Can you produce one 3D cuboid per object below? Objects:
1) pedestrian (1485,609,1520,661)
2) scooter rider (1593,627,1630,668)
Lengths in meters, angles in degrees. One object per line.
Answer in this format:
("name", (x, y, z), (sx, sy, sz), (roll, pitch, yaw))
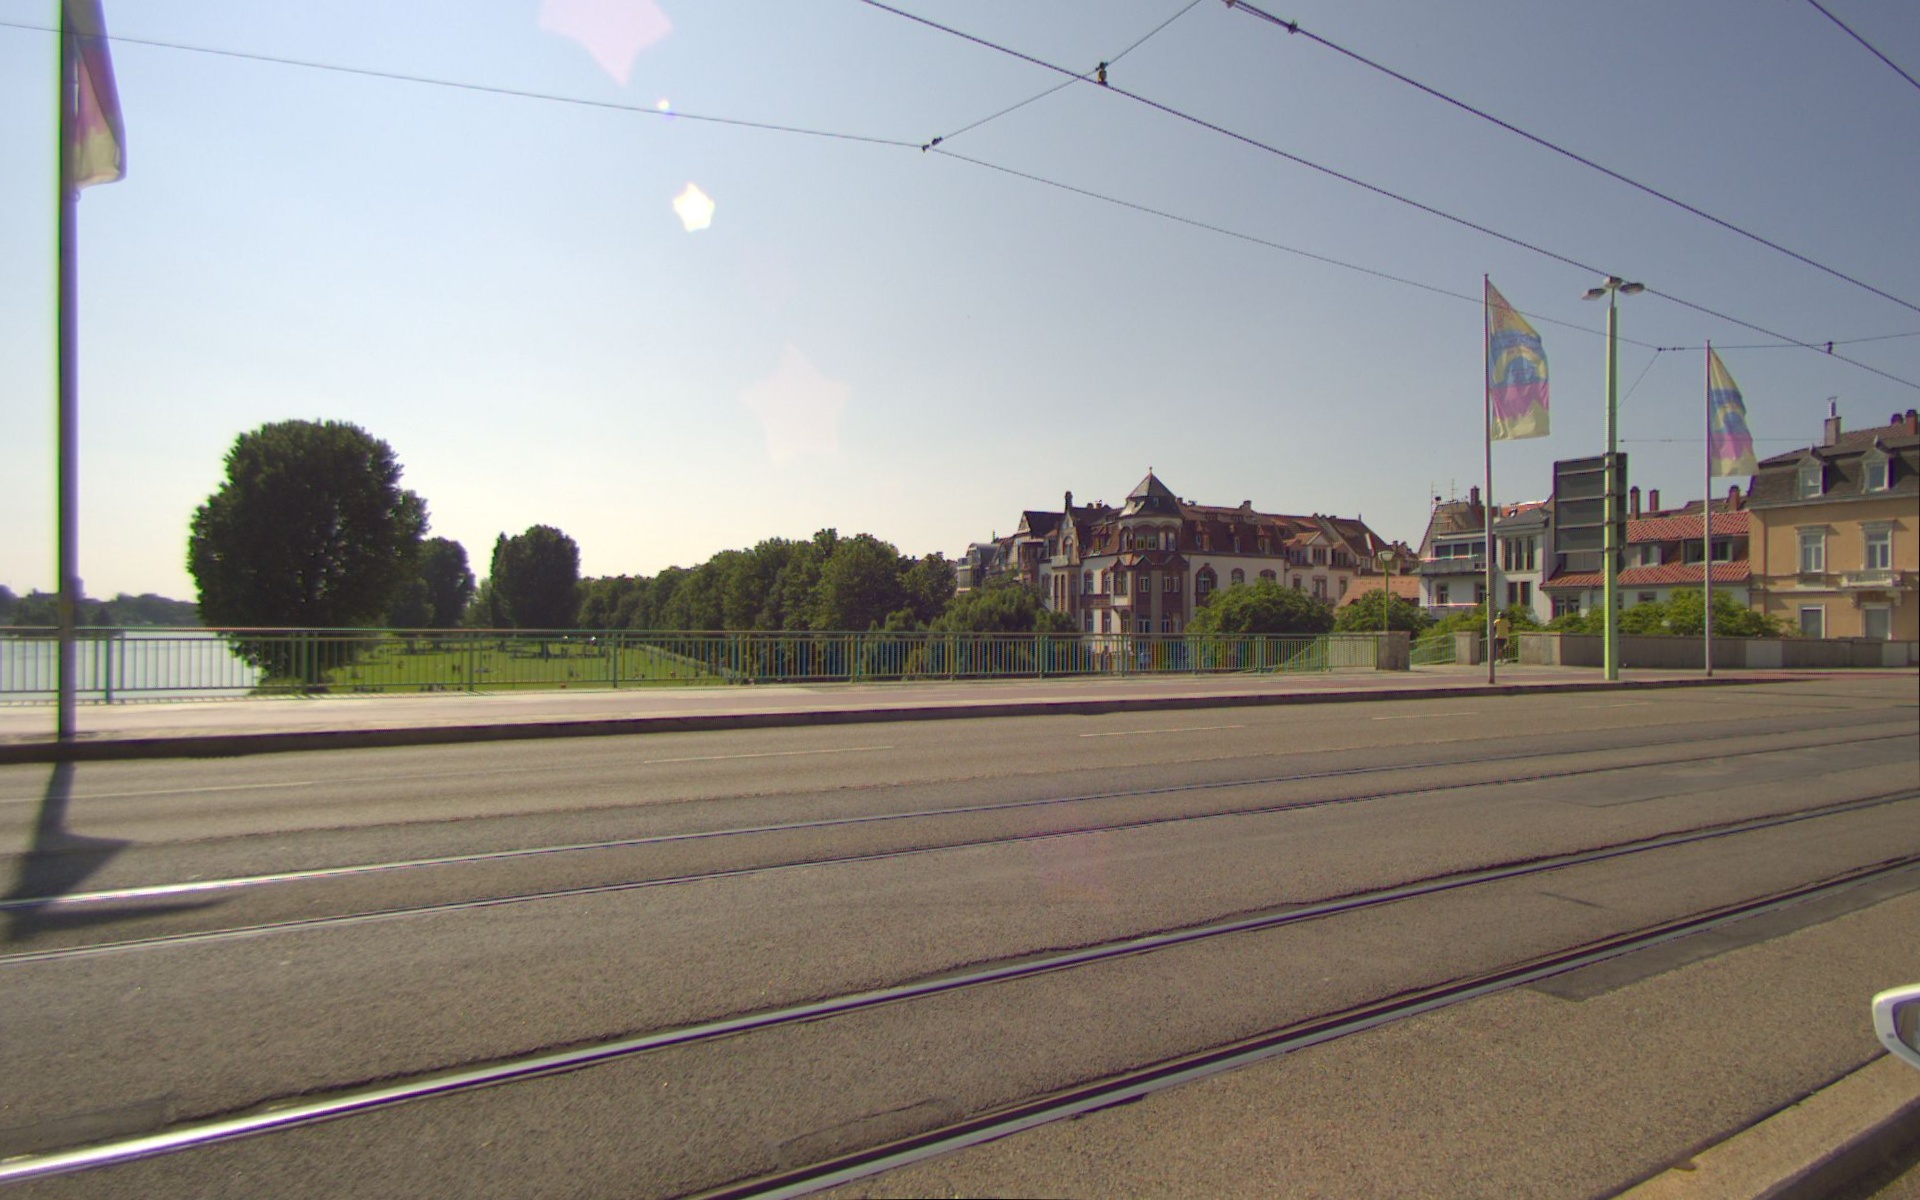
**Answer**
("pedestrian", (18.951, 1.227, 35.095), (0.790, 1.804, 0.744), (1, -2, -22))
("scooter rider", (22.075, 1.605, 34.054), (0.589, 1.333, 0.767), (2, 3, -18))
